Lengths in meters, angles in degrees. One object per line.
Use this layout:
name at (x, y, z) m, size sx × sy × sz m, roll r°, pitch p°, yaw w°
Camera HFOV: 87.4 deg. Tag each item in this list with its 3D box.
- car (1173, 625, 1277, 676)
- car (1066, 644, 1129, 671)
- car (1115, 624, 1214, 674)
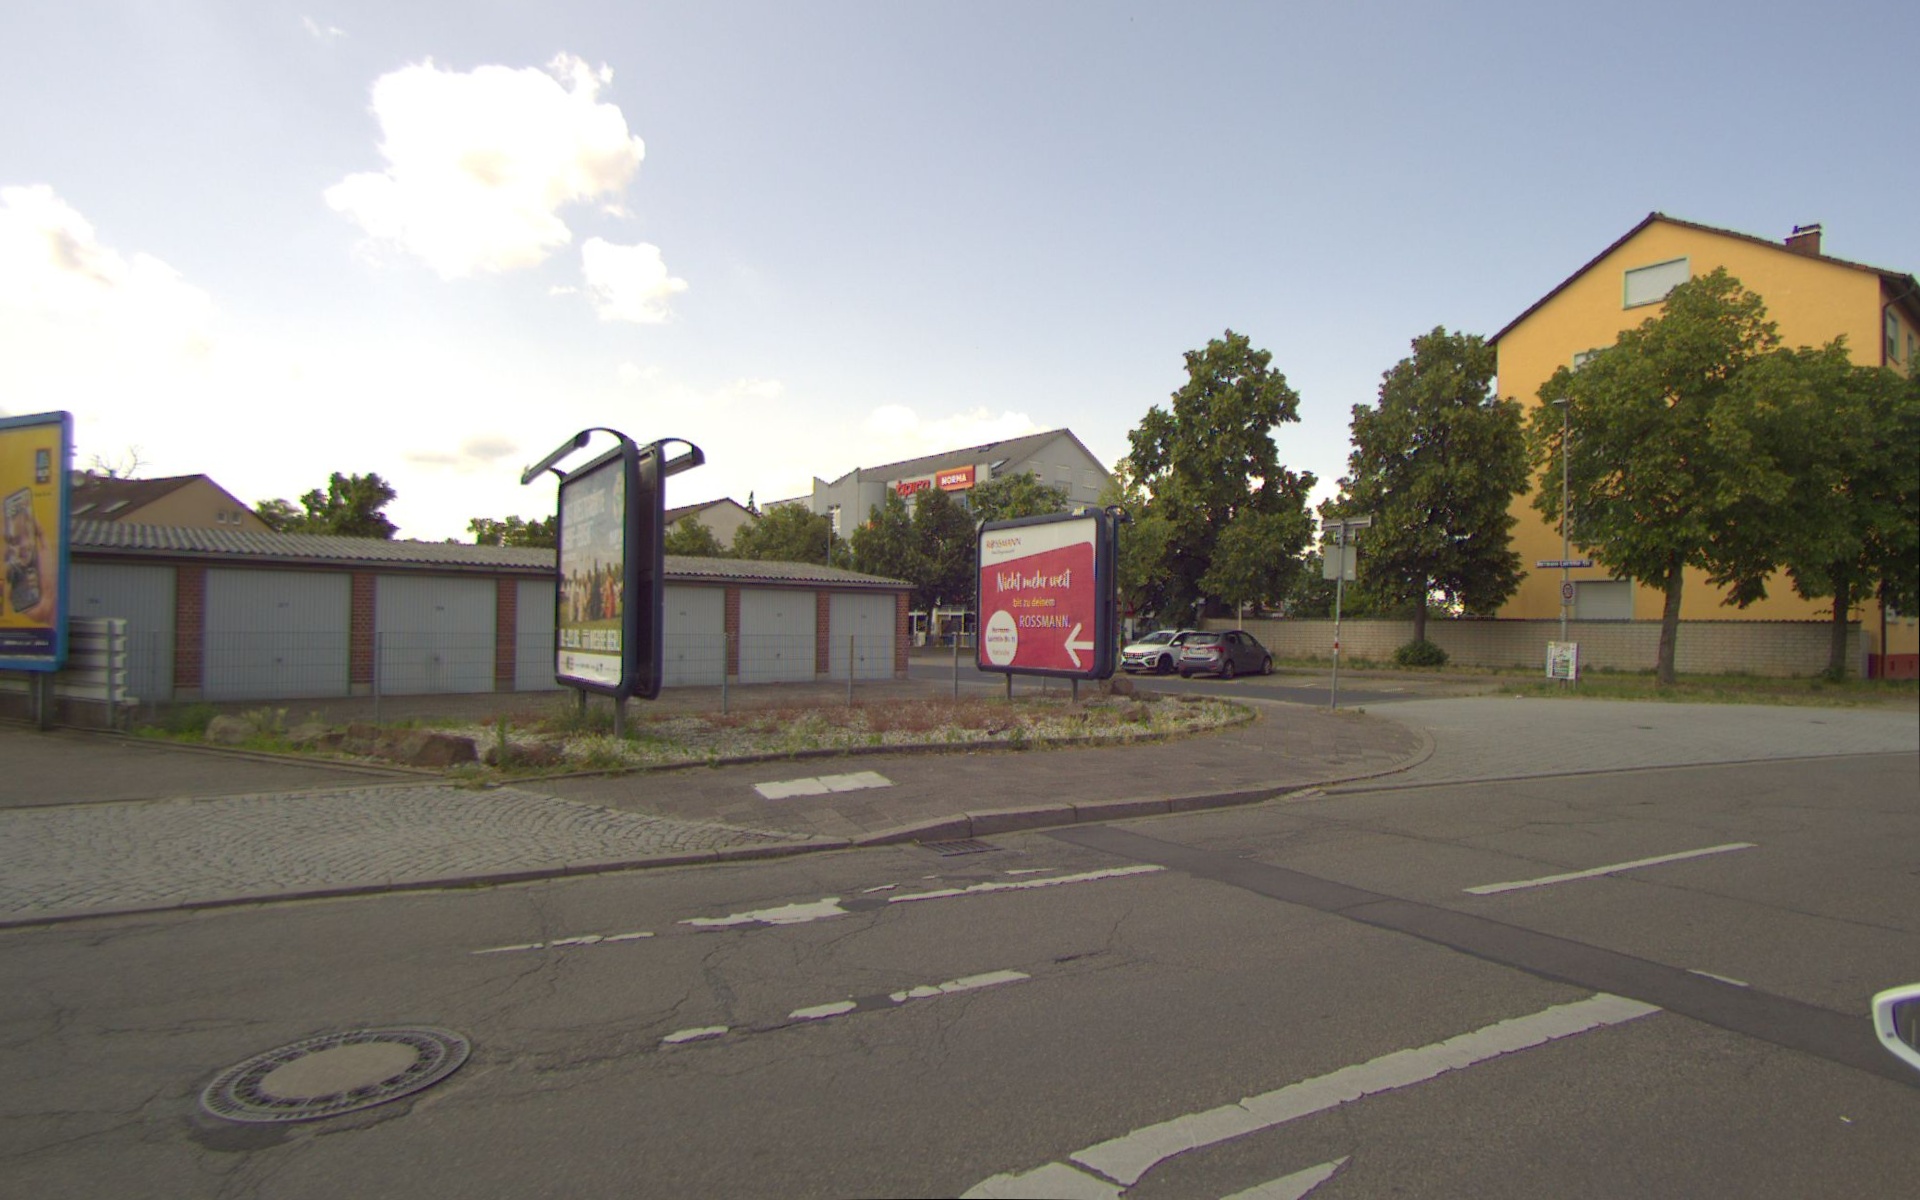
car at (8.971, 1.670, 33.892) m, size 3.875 × 1.558 × 1.630 m, roll 0°, pitch -2°, yaw -45°
car at (8.954, 3.742, 65.522) m, size 3.847 × 1.612 × 1.642 m, roll -3°, pitch -2°, yaw 44°
car at (7.425, 1.735, 36.272) m, size 3.875 × 1.612 × 1.630 m, roll 0°, pitch -2°, yaw -45°
